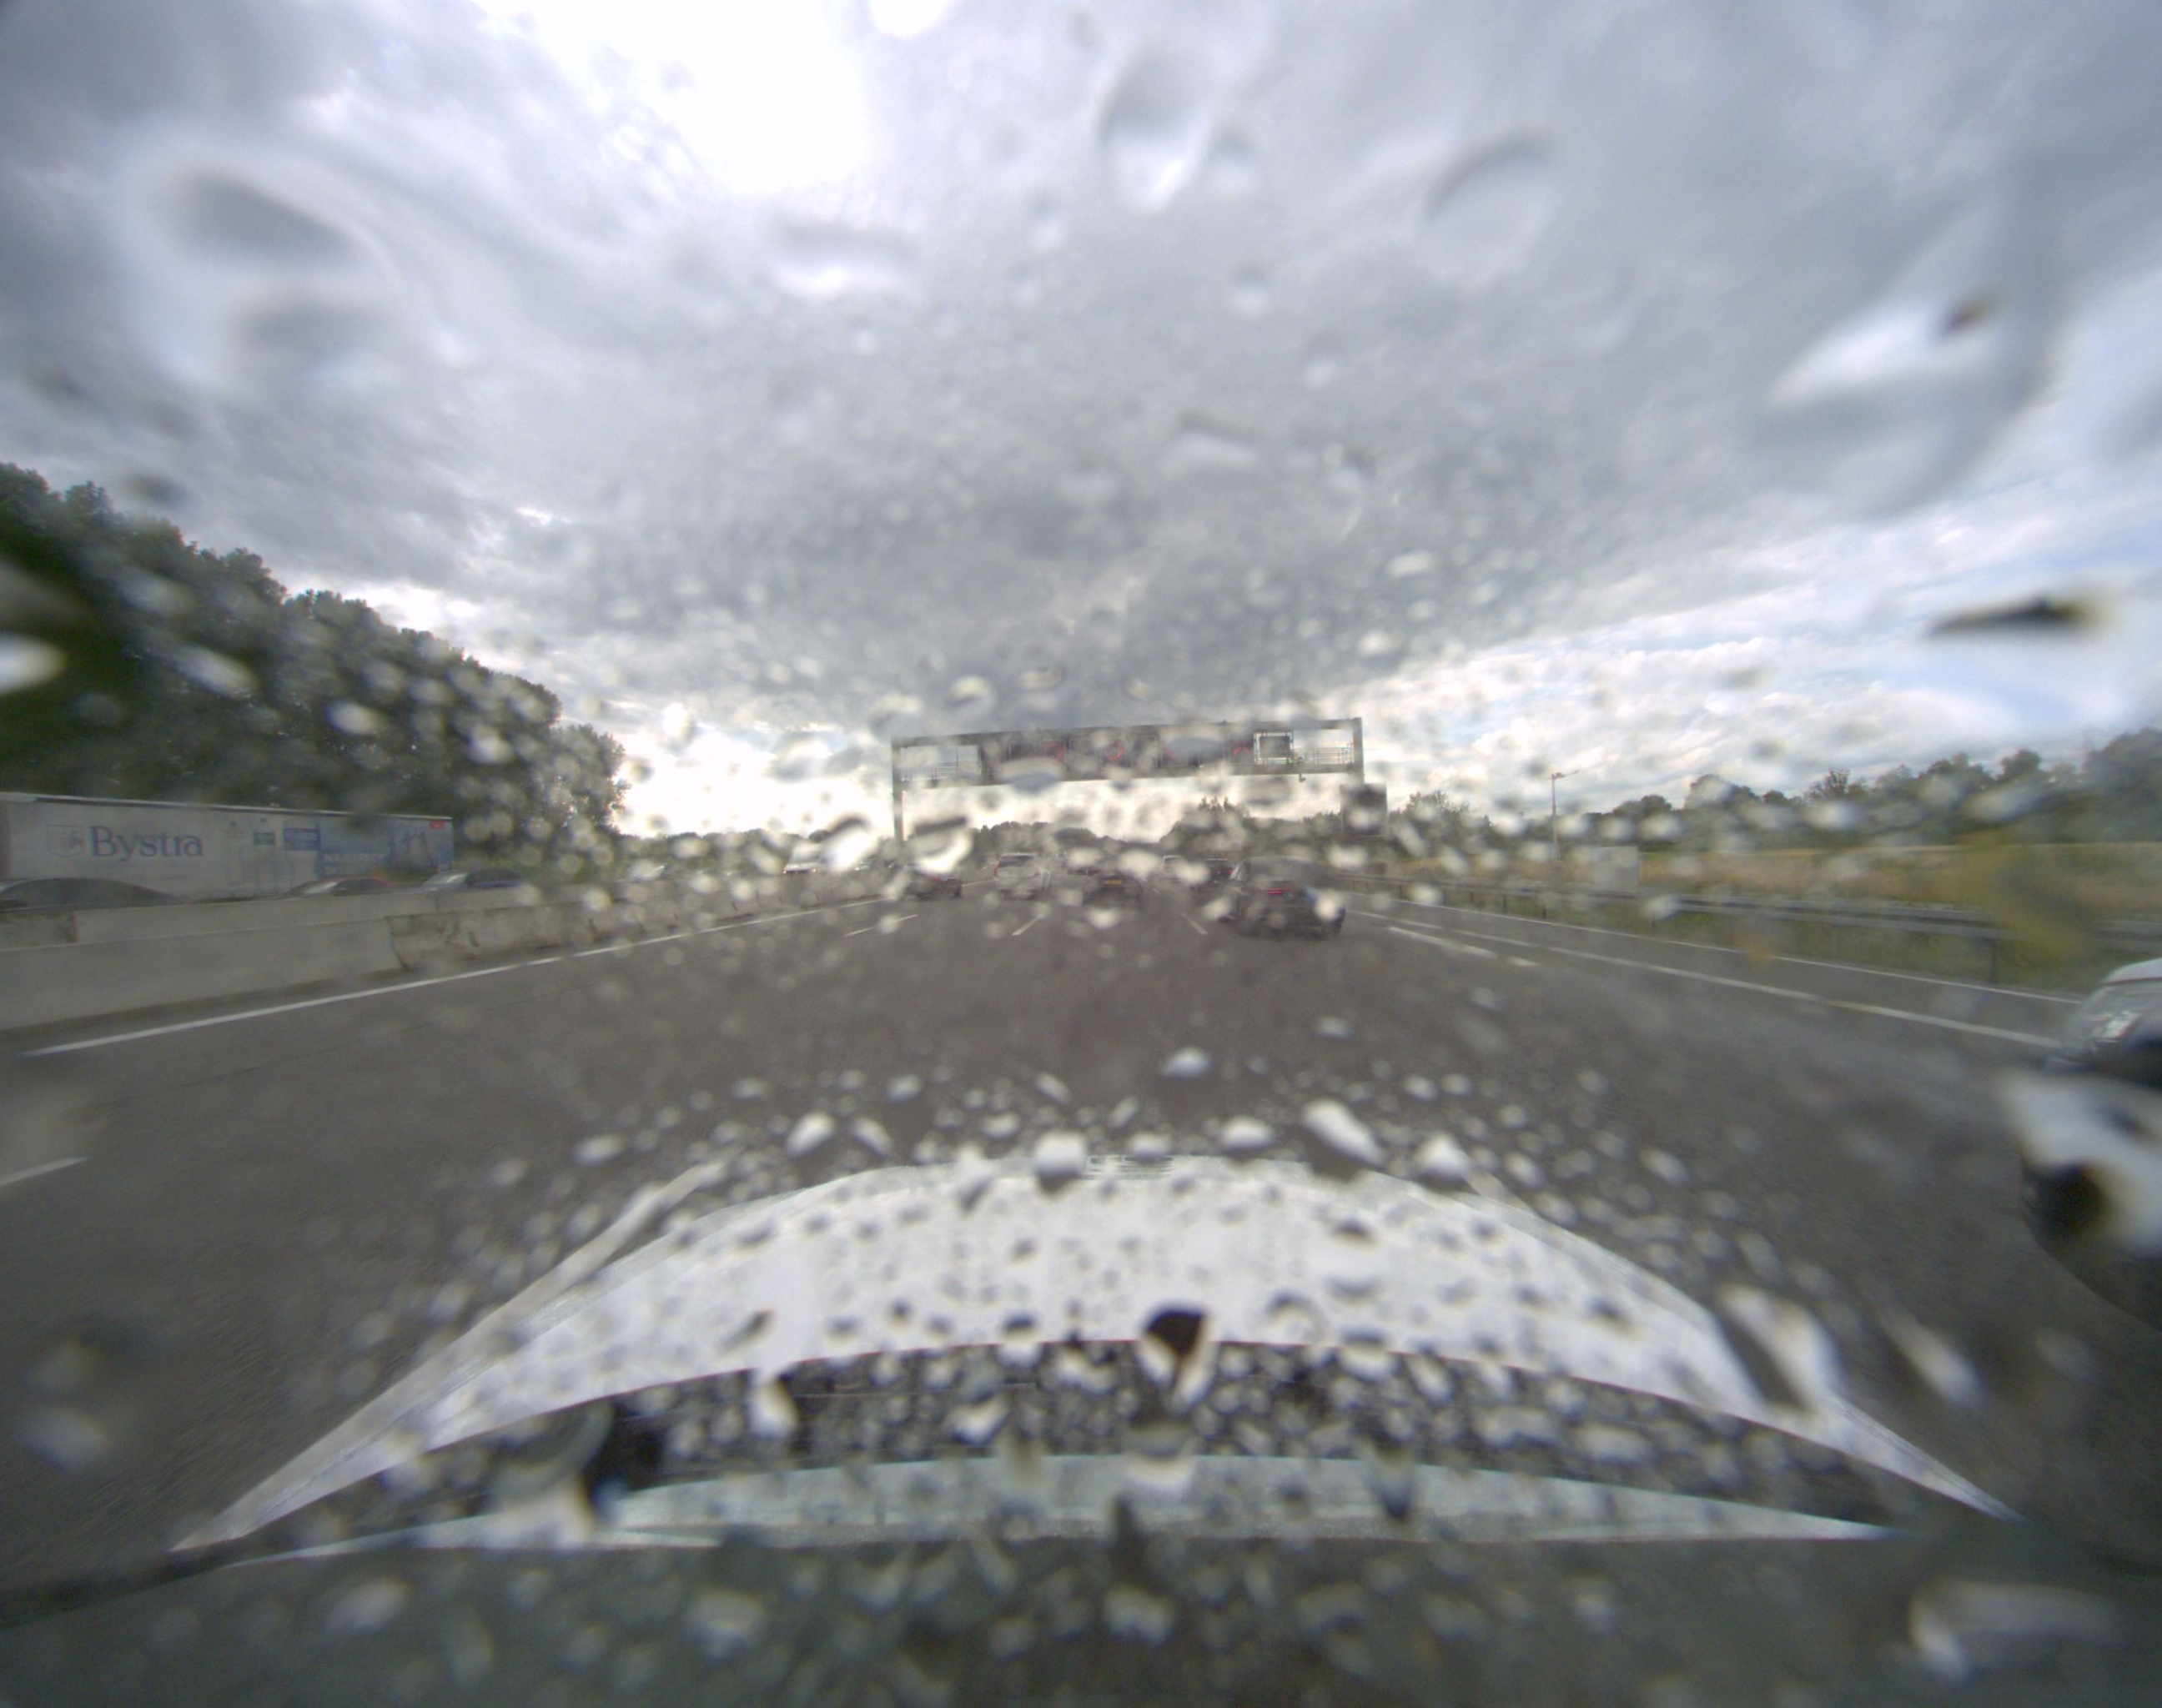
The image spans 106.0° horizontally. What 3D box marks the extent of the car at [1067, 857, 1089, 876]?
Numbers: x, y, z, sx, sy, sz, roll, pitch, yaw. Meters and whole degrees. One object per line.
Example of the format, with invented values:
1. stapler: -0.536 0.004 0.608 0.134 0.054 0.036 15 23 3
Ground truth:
1. car: -0.227 1.169 75.168 1.874 1.686 4.002 -1 0 2

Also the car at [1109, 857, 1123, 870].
1. car: 5.061 1.361 117.656 1.874 1.686 4.002 -1 0 2

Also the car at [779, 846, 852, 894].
1. car: -15.279 0.891 47.329 1.986 2.616 6.345 -1 0 2

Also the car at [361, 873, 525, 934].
1. car: -20.185 1.503 26.020 1.986 1.727 4.019 -1 0 2

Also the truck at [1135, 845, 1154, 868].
1. truck: 10.636 0.422 137.208 3.119 3.709 9.857 -1 0 4

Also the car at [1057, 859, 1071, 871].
1. car: -2.183 1.424 106.962 1.557 1.477 3.921 -1 0 2

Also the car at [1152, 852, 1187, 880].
1. car: 5.304 0.709 49.126 1.803 1.599 4.699 -1 0 3

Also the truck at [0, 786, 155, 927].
1. truck: -28.533 0.087 20.602 3.124 3.508 6.102 -1 0 2

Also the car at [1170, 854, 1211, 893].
1. car: 4.833 0.824 36.417 1.698 1.631 4.464 -1 0 6

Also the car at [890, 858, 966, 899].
1. car: -5.859 0.915 31.768 1.772 1.481 4.359 -1 0 5

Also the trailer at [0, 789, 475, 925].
1. trailer: -28.253 0.139 28.367 3.098 3.508 14.458 -1 0 2

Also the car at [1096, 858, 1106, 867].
1. car: 3.901 1.551 157.094 1.874 1.686 4.002 -1 0 2

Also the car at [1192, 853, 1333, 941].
1. car: 3.463 0.763 16.485 1.932 1.491 4.778 -1 0 2

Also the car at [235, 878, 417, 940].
1. car: -23.832 1.670 25.939 1.986 1.706 4.002 -1 0 2

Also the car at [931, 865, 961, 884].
1. car: -13.820 2.059 83.601 1.986 1.885 5.188 -1 0 2

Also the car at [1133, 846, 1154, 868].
1. car: 8.514 0.449 111.946 2.557 2.895 7.537 -1 0 2

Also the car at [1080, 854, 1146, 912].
1. car: 0.901 0.823 25.232 1.775 1.613 4.596 -1 0 -1

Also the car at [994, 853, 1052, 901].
1. car: -2.197 0.854 31.989 1.774 1.716 4.355 -1 0 2

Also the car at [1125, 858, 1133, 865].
1. car: 11.453 1.756 194.232 1.875 1.686 4.000 -1 0 1

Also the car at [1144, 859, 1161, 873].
1. car: 7.692 1.249 87.685 1.787 1.477 4.042 -1 0 4

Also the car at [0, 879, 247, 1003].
1. car: -16.719 1.327 13.290 1.986 1.727 4.019 -1 0 2

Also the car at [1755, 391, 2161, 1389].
1. car: 3.702 0.074 0.548 2.131 2.501 5.451 -1 0 3
